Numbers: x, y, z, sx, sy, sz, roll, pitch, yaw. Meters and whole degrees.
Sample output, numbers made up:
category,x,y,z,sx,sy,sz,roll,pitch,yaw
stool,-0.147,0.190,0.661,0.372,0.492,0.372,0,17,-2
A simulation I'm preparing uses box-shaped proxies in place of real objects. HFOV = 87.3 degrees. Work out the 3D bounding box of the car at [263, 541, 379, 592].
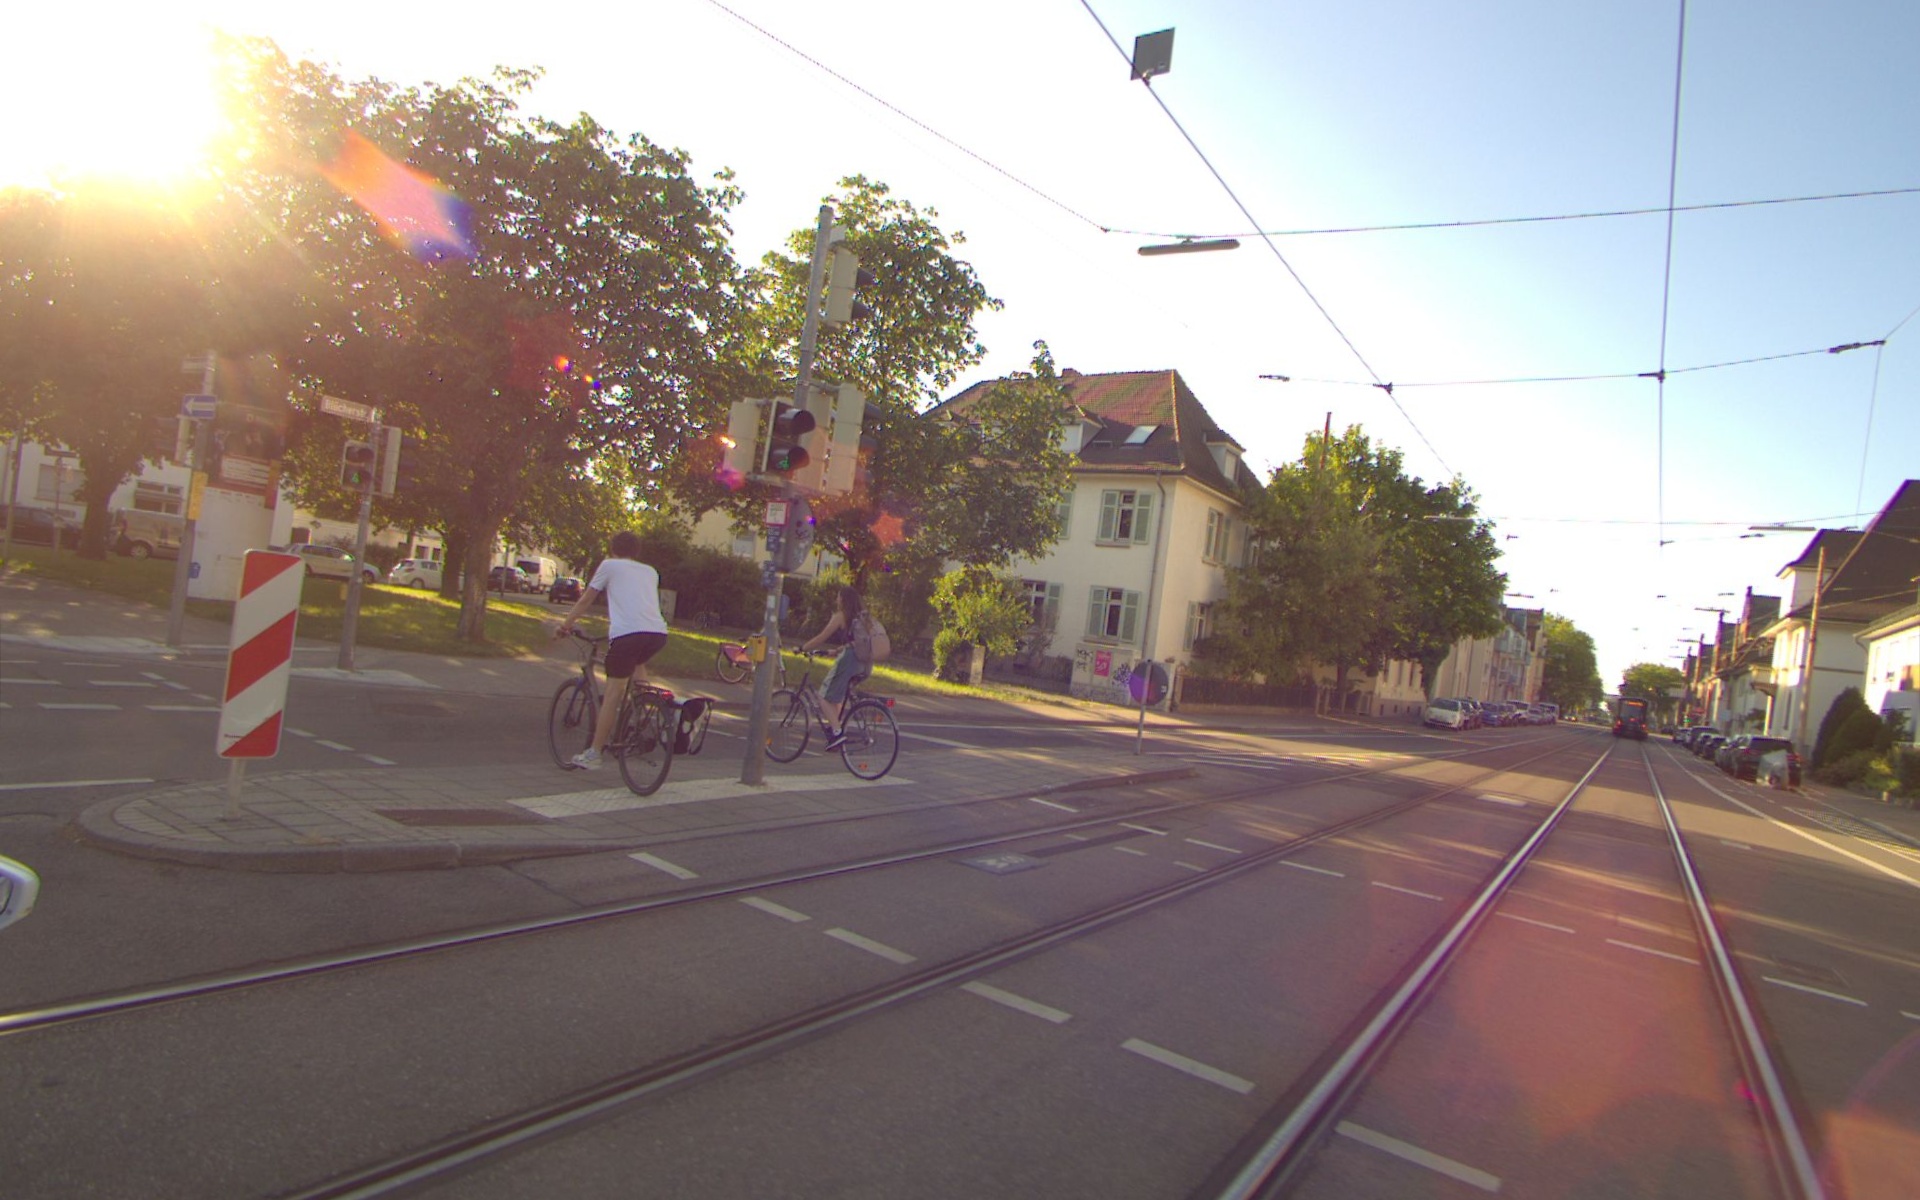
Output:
category,x,y,z,sx,sy,sz,roll,pitch,yaw
car,-26.069,-1.349,41.134,1.579,1.533,3.560,7,-2,32

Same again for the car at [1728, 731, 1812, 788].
category,x,y,z,sx,sy,sz,roll,pitch,yaw
car,29.322,5.726,36.527,1.969,1.614,3.990,7,-2,36

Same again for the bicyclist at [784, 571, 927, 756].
category,x,y,z,sx,sy,sz,roll,pitch,yaw
bicyclist,-0.976,0.593,9.408,0.880,1.579,0.713,6,-3,36

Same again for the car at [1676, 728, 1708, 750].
category,x,y,z,sx,sy,sz,roll,pitch,yaw
car,59.735,11.345,82.143,1.969,1.459,3.990,6,-2,36

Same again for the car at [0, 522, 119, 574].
category,x,y,z,sx,sy,sz,roll,pitch,yaw
car,-35.736,-2.068,39.350,1.690,1.463,3.989,6,-3,37

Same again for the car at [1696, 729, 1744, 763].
category,x,y,z,sx,sy,sz,roll,pitch,yaw
car,44.884,8.607,59.489,1.969,1.645,3.992,6,-3,36

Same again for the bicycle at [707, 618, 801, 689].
category,x,y,z,sx,sy,sz,roll,pitch,yaw
bicycle,-3.708,0.976,18.170,1.519,1.102,0.461,9,1,-45

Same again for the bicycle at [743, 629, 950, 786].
category,x,y,z,sx,sy,sz,roll,pitch,yaw
bicycle,-1.105,0.983,9.503,1.932,1.196,0.492,6,-3,33

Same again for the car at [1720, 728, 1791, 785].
category,x,y,z,sx,sy,sz,roll,pitch,yaw
car,33.874,6.601,42.933,1.969,1.904,3.989,8,0,36

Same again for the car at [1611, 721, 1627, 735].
category,x,y,z,sx,sy,sz,roll,pitch,yaw
car,100.512,19.491,153.428,1.592,1.642,3.713,6,0,30

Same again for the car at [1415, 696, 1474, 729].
category,x,y,z,sx,sy,sz,roll,pitch,yaw
car,24.792,5.764,51.451,1.969,1.325,3.990,6,-2,36

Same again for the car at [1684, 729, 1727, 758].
category,x,y,z,sx,sy,sz,roll,pitch,yaw
car,48.189,9.294,65.082,1.969,1.479,3.995,6,-5,36

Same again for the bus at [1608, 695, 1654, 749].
category,x,y,z,sx,sy,sz,roll,pitch,yaw
bus,59.567,10.934,89.119,2.821,3.867,13.305,6,-4,35

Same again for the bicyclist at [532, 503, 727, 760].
category,x,y,z,sx,sy,sz,roll,pitch,yaw
bicyclist,-2.459,0.233,7.491,0.881,1.751,0.814,6,-3,41

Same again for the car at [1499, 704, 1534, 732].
category,x,y,z,sx,sy,sz,roll,pitch,yaw
car,41.511,8.794,75.030,1.967,1.632,3.997,6,-4,32

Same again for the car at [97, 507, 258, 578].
category,x,y,z,sx,sy,sz,roll,pitch,yaw
car,-29.214,-2.122,37.651,2.000,1.896,4.245,6,-3,37

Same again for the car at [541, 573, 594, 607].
category,x,y,z,sx,sy,sz,roll,pitch,yaw
car,-22.010,-0.540,56.572,1.968,1.570,3.991,8,-1,-12

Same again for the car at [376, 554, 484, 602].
category,x,y,z,sx,sy,sz,roll,pitch,yaw
car,-23.687,-0.972,45.110,1.499,1.540,3.930,5,-4,32

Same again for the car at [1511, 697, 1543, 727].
category,x,y,z,sx,sy,sz,roll,pitch,yaw
car,47.134,9.323,83.534,1.967,2.035,3.997,6,-4,33

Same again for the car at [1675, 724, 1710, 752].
category,x,y,z,sx,sy,sz,roll,pitch,yaw
car,56.557,10.619,77.692,1.969,1.792,3.990,6,-2,36

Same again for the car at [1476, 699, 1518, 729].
category,x,y,z,sx,sy,sz,roll,pitch,yaw
car,35.924,7.634,67.245,1.896,1.614,3.892,7,-2,36

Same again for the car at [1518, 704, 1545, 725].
category,x,y,z,sx,sy,sz,roll,pitch,yaw
car,52.666,10.555,92.717,1.811,1.551,3.873,6,-4,33

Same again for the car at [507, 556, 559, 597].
category,x,y,z,sx,sy,sz,roll,pitch,yaw
car,-30.652,-1.620,72.408,2.078,2.362,4.517,9,-3,-8

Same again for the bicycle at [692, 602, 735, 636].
category,x,y,z,sx,sy,sz,roll,pitch,yaw
bicycle,-10.210,0.772,41.638,1.924,1.251,0.450,4,-3,35

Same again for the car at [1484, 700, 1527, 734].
category,x,y,z,sx,sy,sz,roll,pitch,yaw
car,38.380,8.250,70.746,1.969,2.037,3.990,7,-2,36

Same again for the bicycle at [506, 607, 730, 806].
category,x,y,z,sx,sy,sz,roll,pitch,yaw
bicycle,-2.621,0.760,7.587,1.879,1.197,0.572,6,-3,41

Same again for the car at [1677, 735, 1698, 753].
category,x,y,z,sx,sy,sz,roll,pitch,yaw
car,70.749,14.006,97.842,1.459,1.464,3.435,6,-4,35

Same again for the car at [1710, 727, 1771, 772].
category,x,y,z,sx,sy,sz,roll,pitch,yaw
car,37.996,7.254,49.054,1.969,1.790,3.990,6,-2,36
